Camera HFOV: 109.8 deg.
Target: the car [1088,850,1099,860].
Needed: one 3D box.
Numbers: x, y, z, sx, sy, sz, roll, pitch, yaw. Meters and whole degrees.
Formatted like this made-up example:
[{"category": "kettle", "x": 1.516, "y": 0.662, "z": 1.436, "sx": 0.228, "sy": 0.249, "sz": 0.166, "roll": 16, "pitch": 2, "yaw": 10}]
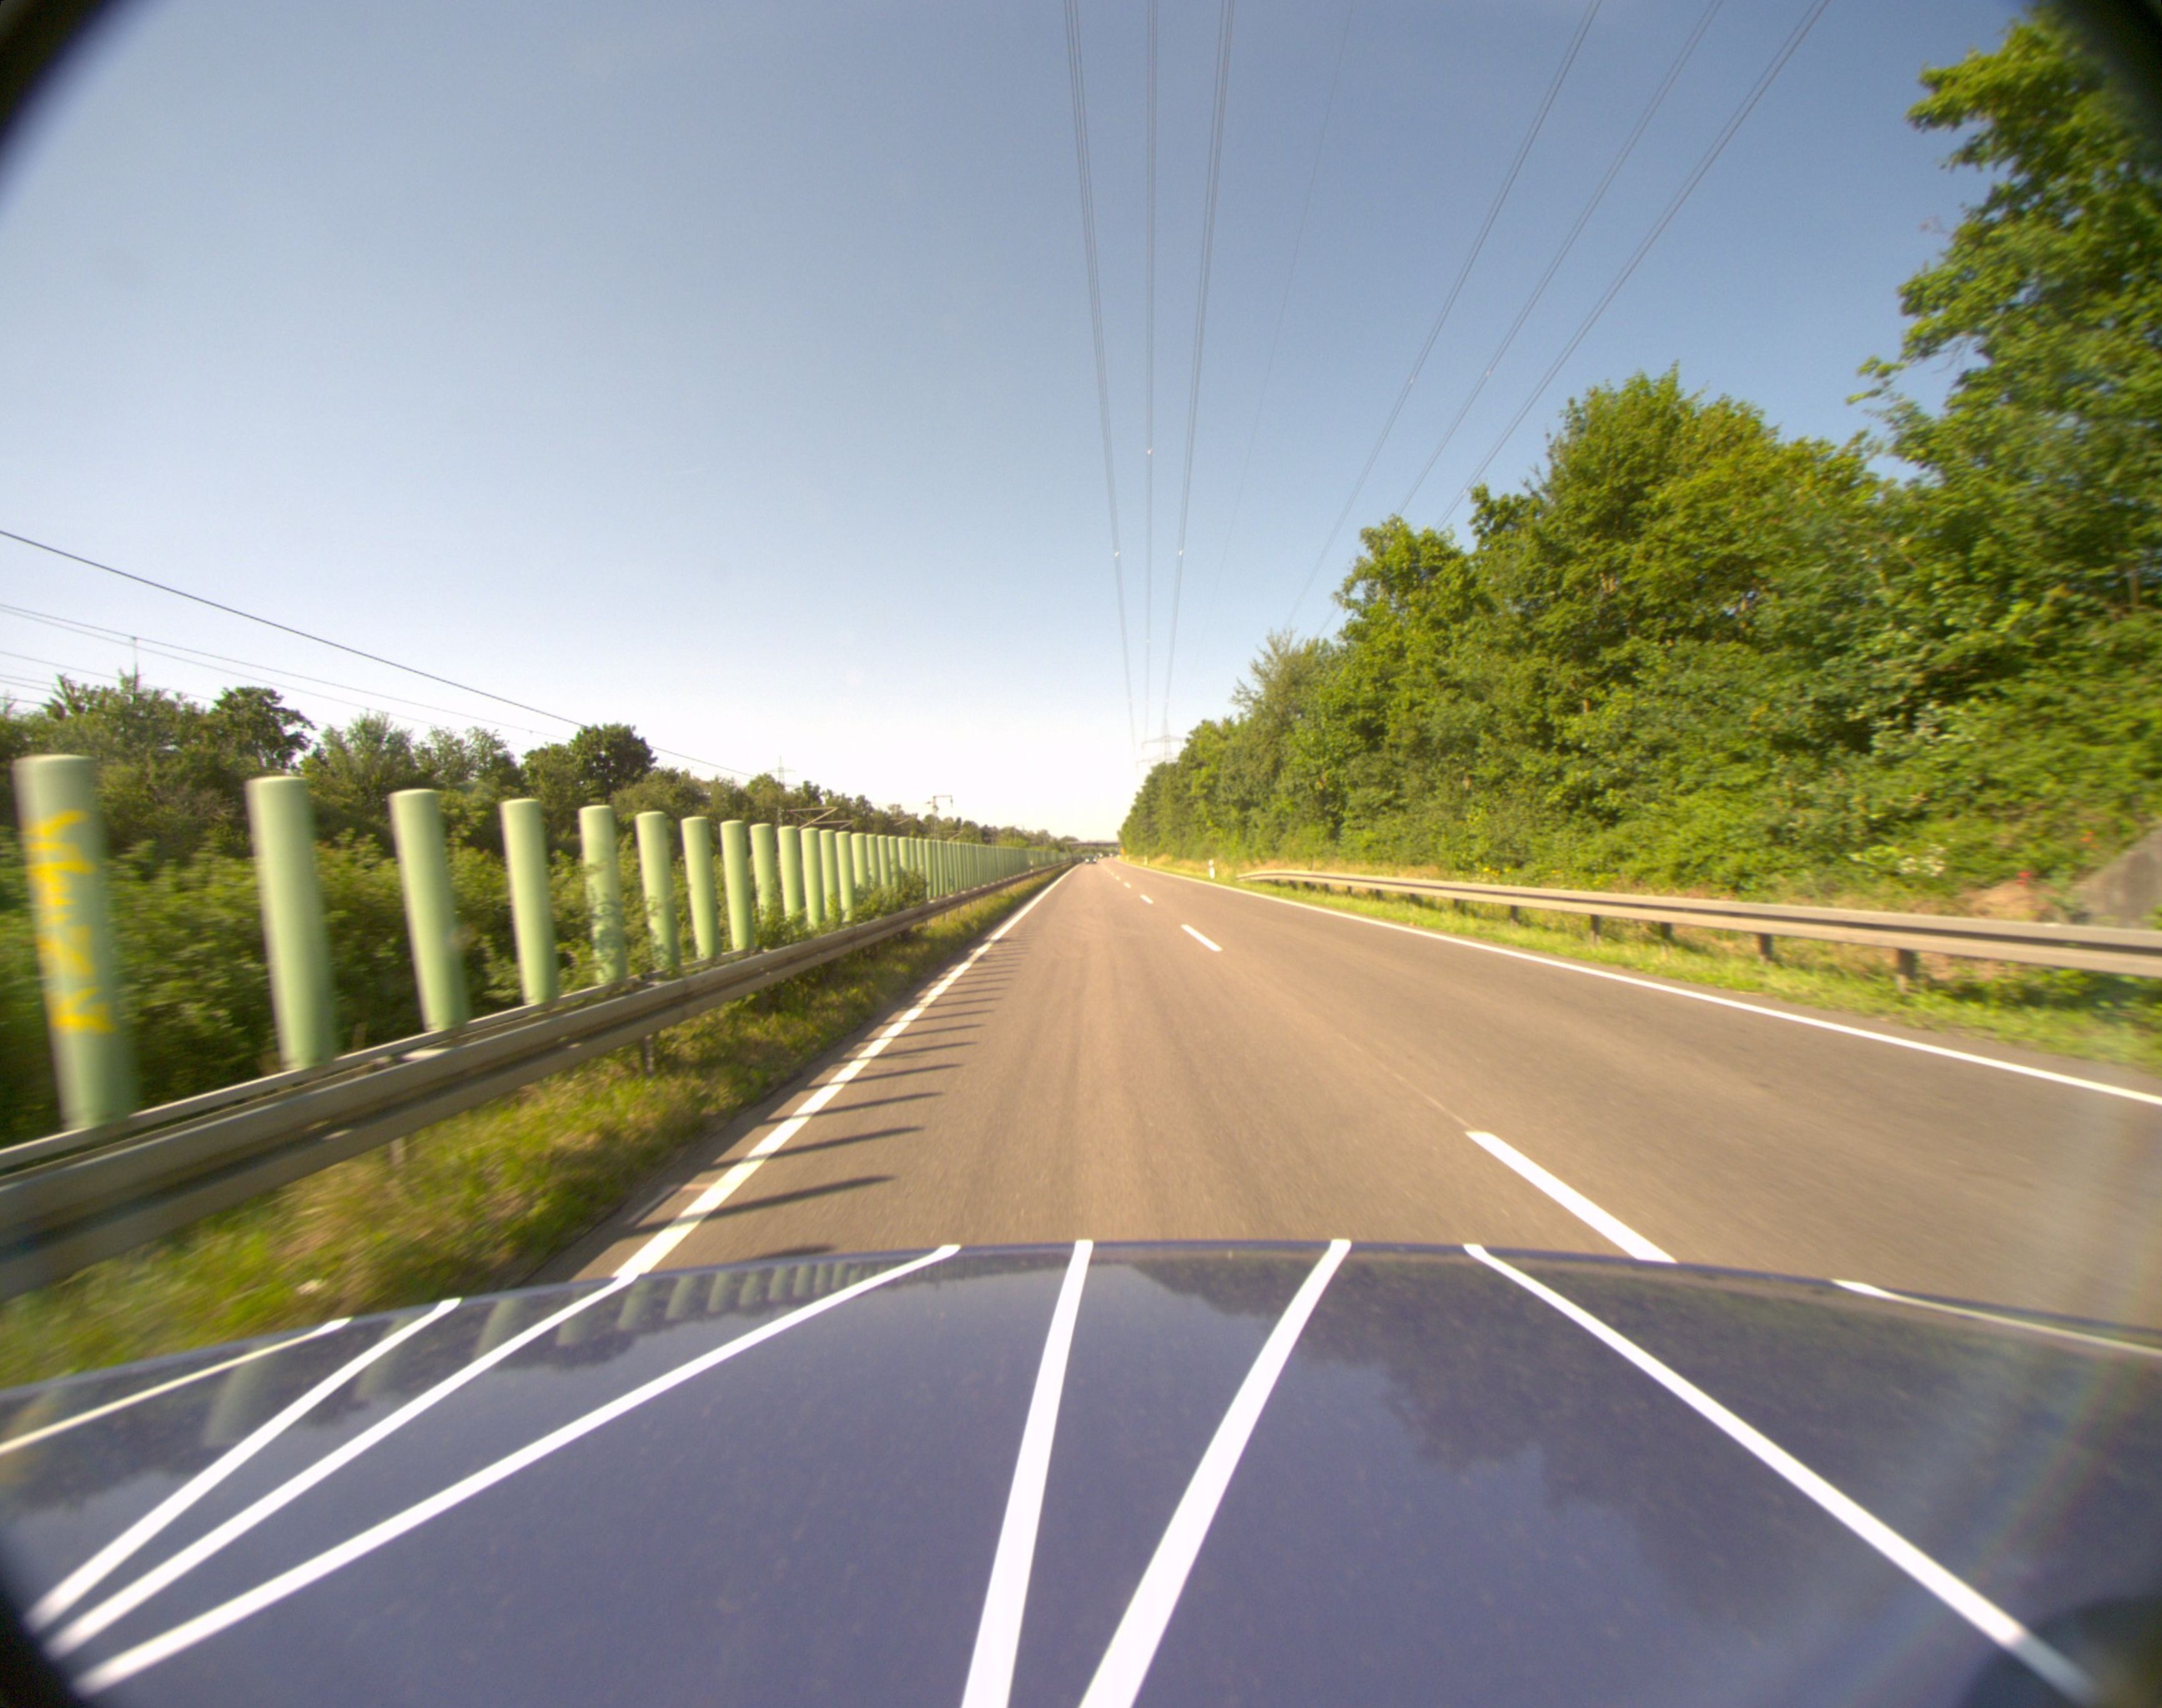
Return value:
[{"category": "car", "x": 2.052, "y": 0.203, "z": 128.060, "sx": 1.787, "sy": 1.550, "sz": 4.000, "roll": -1, "pitch": 0, "yaw": 2}]
